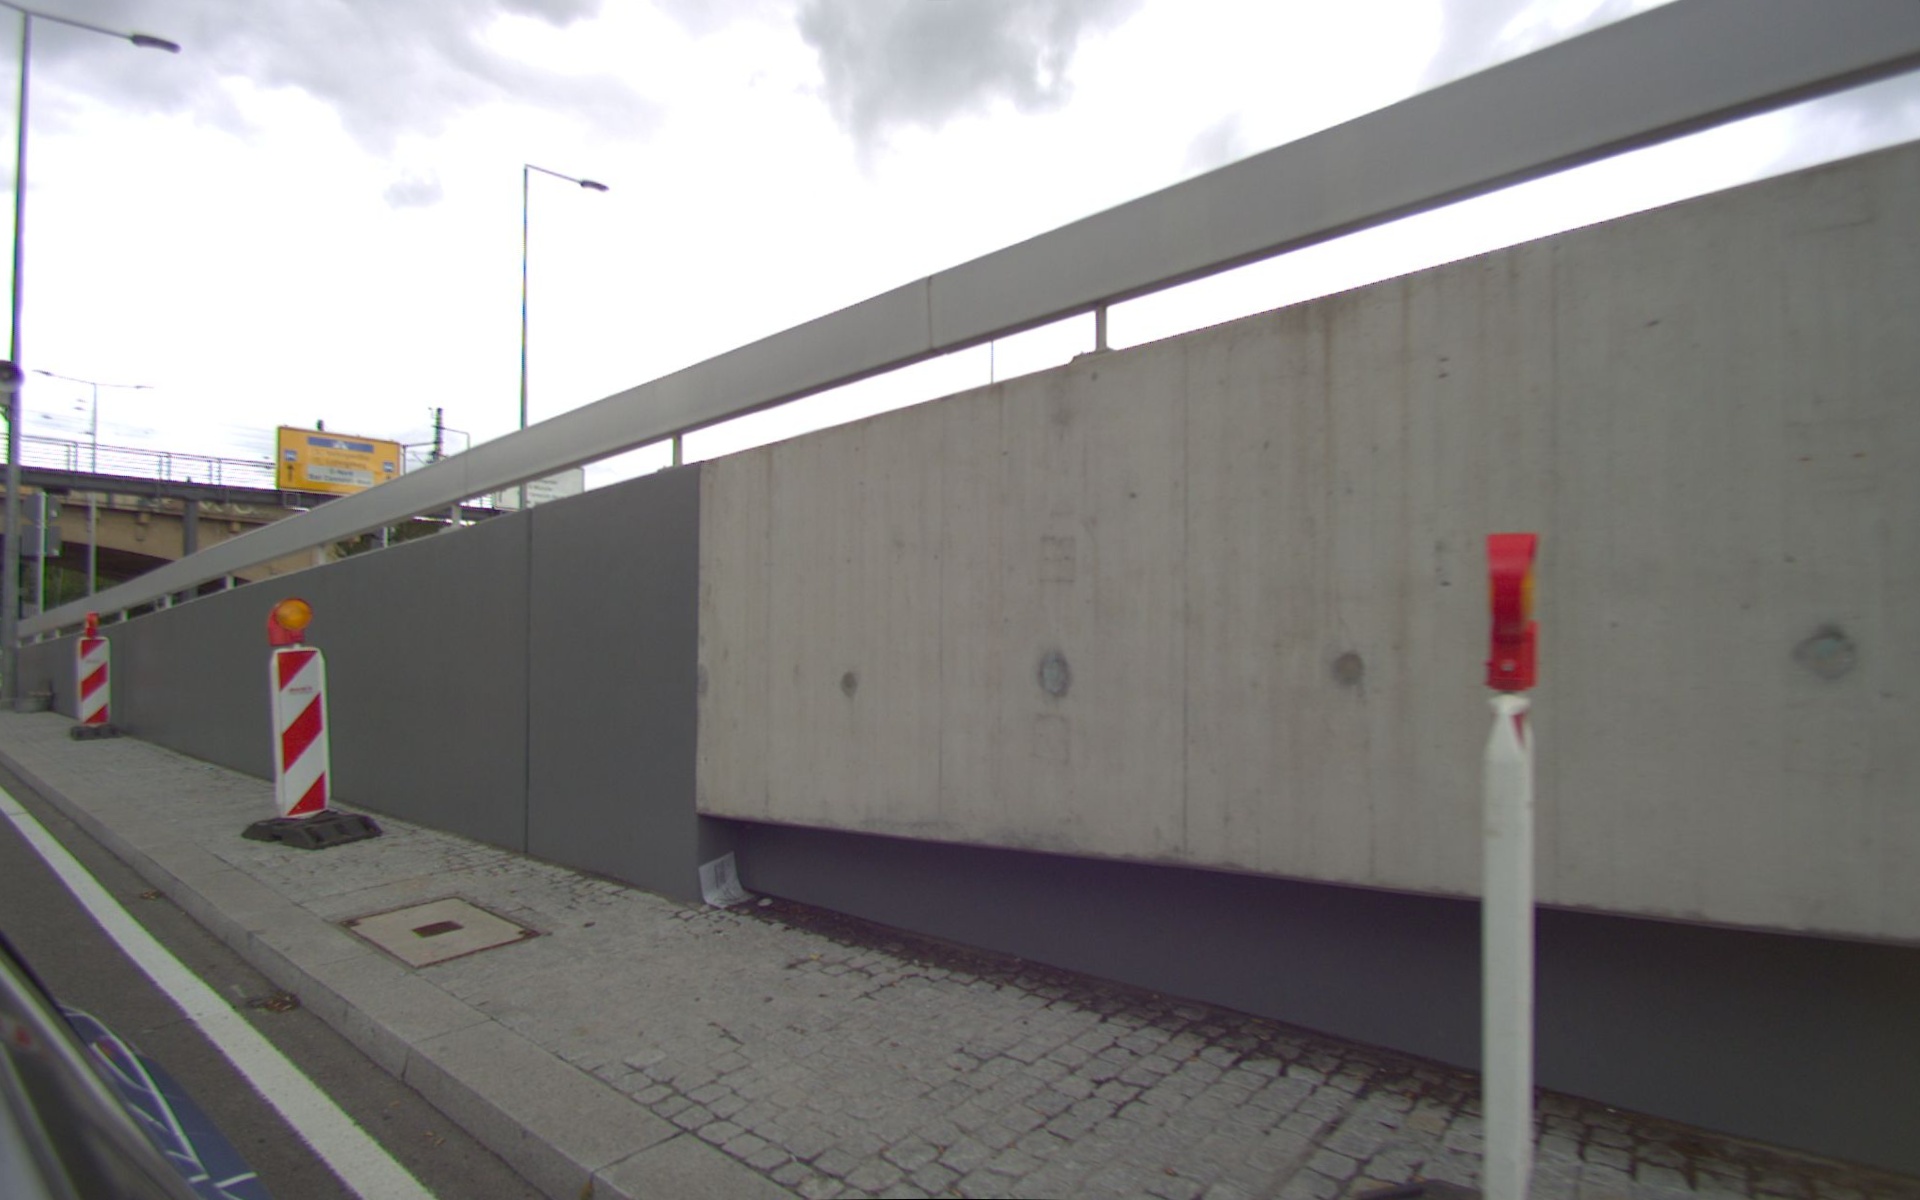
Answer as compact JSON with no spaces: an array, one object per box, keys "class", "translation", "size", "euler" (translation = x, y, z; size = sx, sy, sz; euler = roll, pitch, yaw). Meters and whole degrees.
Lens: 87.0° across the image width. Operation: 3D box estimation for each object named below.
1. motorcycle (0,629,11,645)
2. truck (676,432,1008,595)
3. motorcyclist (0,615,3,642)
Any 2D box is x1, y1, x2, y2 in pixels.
[{"class":"motorcycle","translation":[-58.876,2.291,61.438],"size":[2.372,0.924,0.664],"euler":[-2,-1,16]},{"class":"truck","translation":[-3.804,-2.224,29.733],"size":[10.599,3.415,2.708],"euler":[-4,-1,37]},{"class":"motorcyclist","translation":[-58.892,1.768,61.445],"size":[1.093,1.618,0.664],"euler":[-2,-1,15]}]
